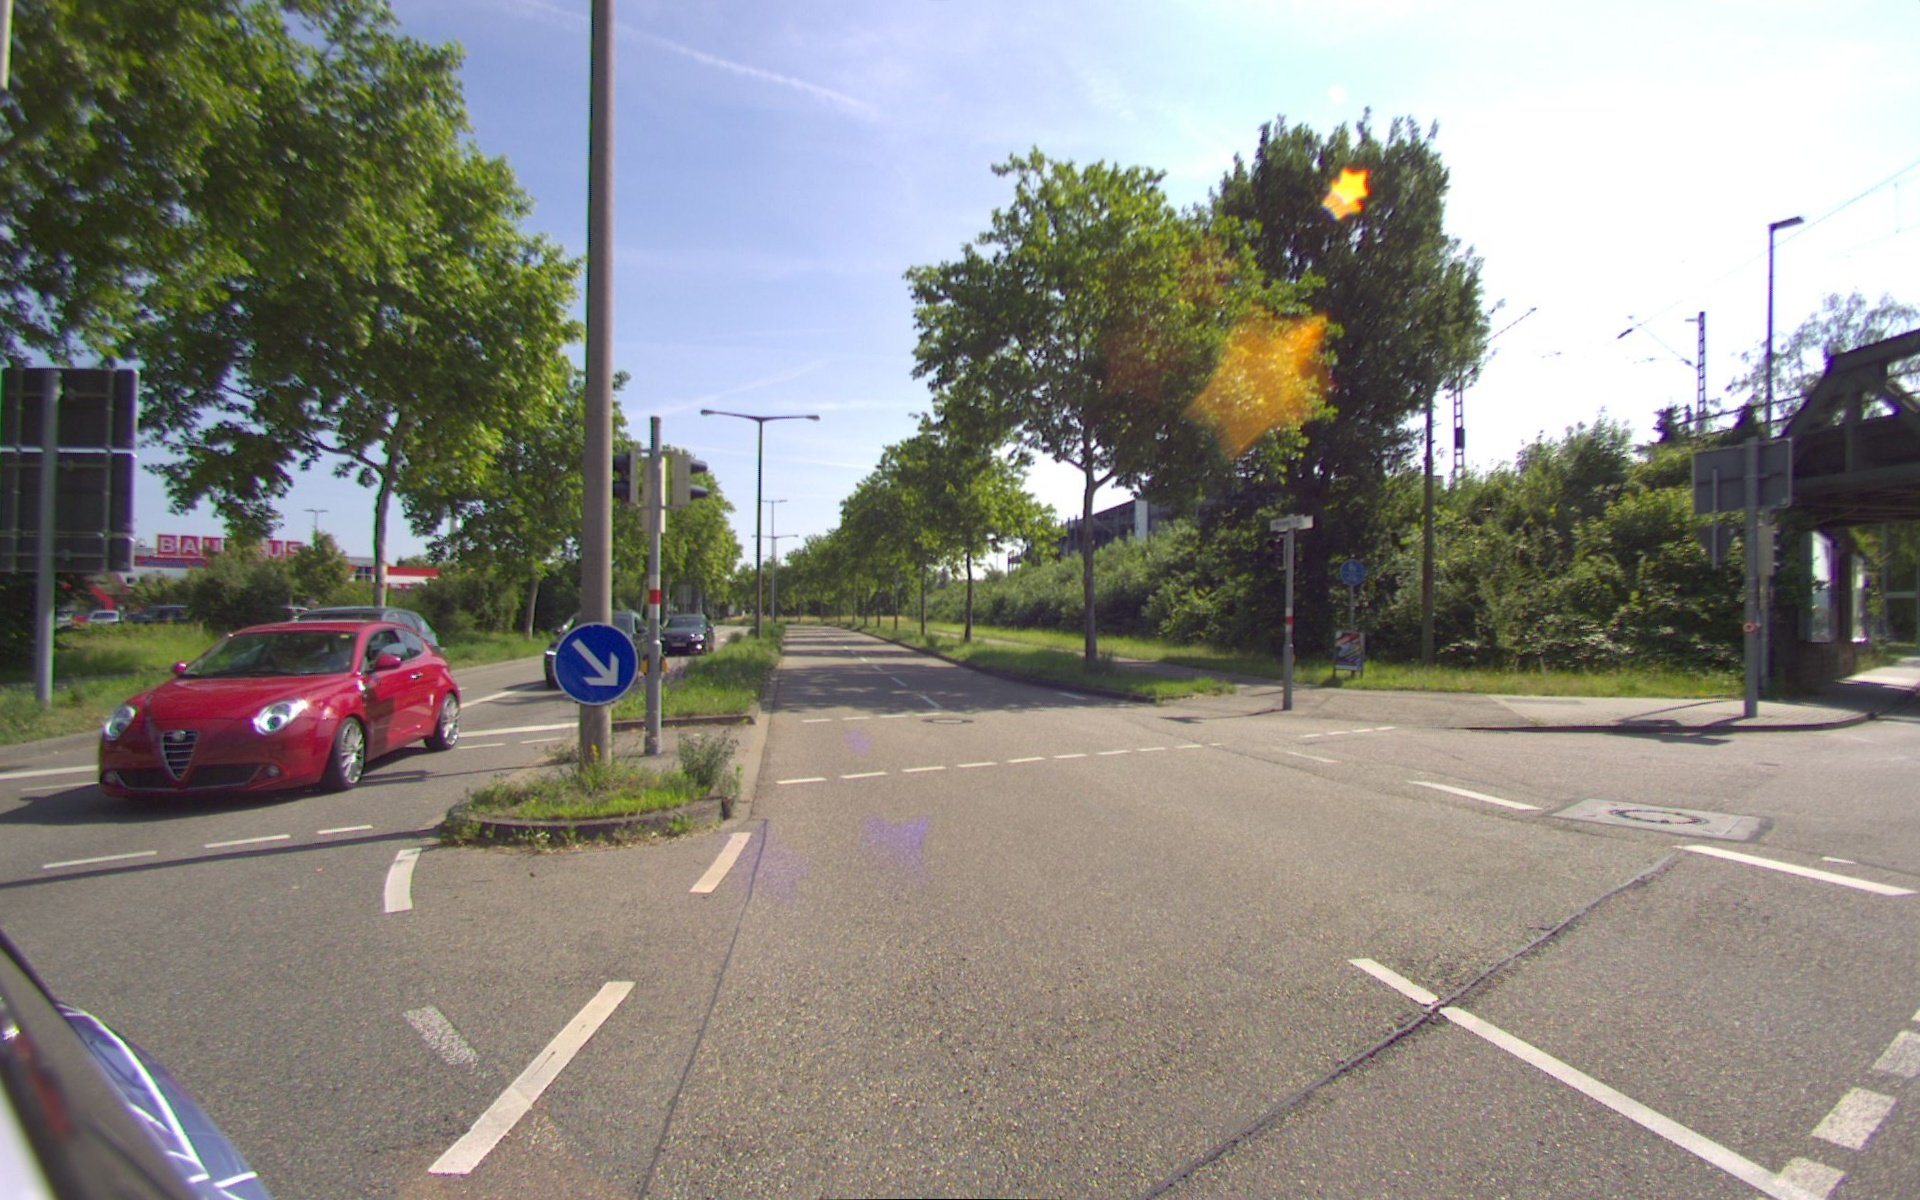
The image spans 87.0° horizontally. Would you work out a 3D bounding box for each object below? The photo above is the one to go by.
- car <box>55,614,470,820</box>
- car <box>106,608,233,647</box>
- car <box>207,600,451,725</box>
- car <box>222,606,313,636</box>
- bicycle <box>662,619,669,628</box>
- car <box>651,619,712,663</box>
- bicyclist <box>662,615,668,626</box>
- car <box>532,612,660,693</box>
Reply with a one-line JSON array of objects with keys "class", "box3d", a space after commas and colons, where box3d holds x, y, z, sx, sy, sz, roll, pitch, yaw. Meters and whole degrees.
[{"class": "car", "box3d": [-6.042, 0.877, 9.378, 1.633, 1.449, 3.915, -1, -1, -9]}, {"class": "car", "box3d": [-33.326, 1.144, 42.782, 3.797, 1.597, 1.855, 1, -1, -15]}, {"class": "car", "box3d": [-9.837, 0.891, 16.236, 1.743, 1.671, 4.505, -1, -1, -10]}, {"class": "car", "box3d": [-38.392, 1.175, 56.148, 1.849, 1.597, 3.808, 0, -1, 42]}, {"class": "bicycle", "box3d": [-41.735, 3.275, 143.225, 0.676, 1.247, 1.938, 1, -1, -9]}, {"class": "car", "box3d": [-10.122, 1.436, 37.012, 1.690, 1.439, 4.587, -1, -1, -10]}, {"class": "bicyclist", "box3d": [-41.736, 2.888, 143.263, 0.676, 1.644, 1.004, 1, -1, -9]}, {"class": "car", "box3d": [-7.637, 1.041, 21.638, 1.845, 1.557, 4.089, 0, -1, -9]}]
